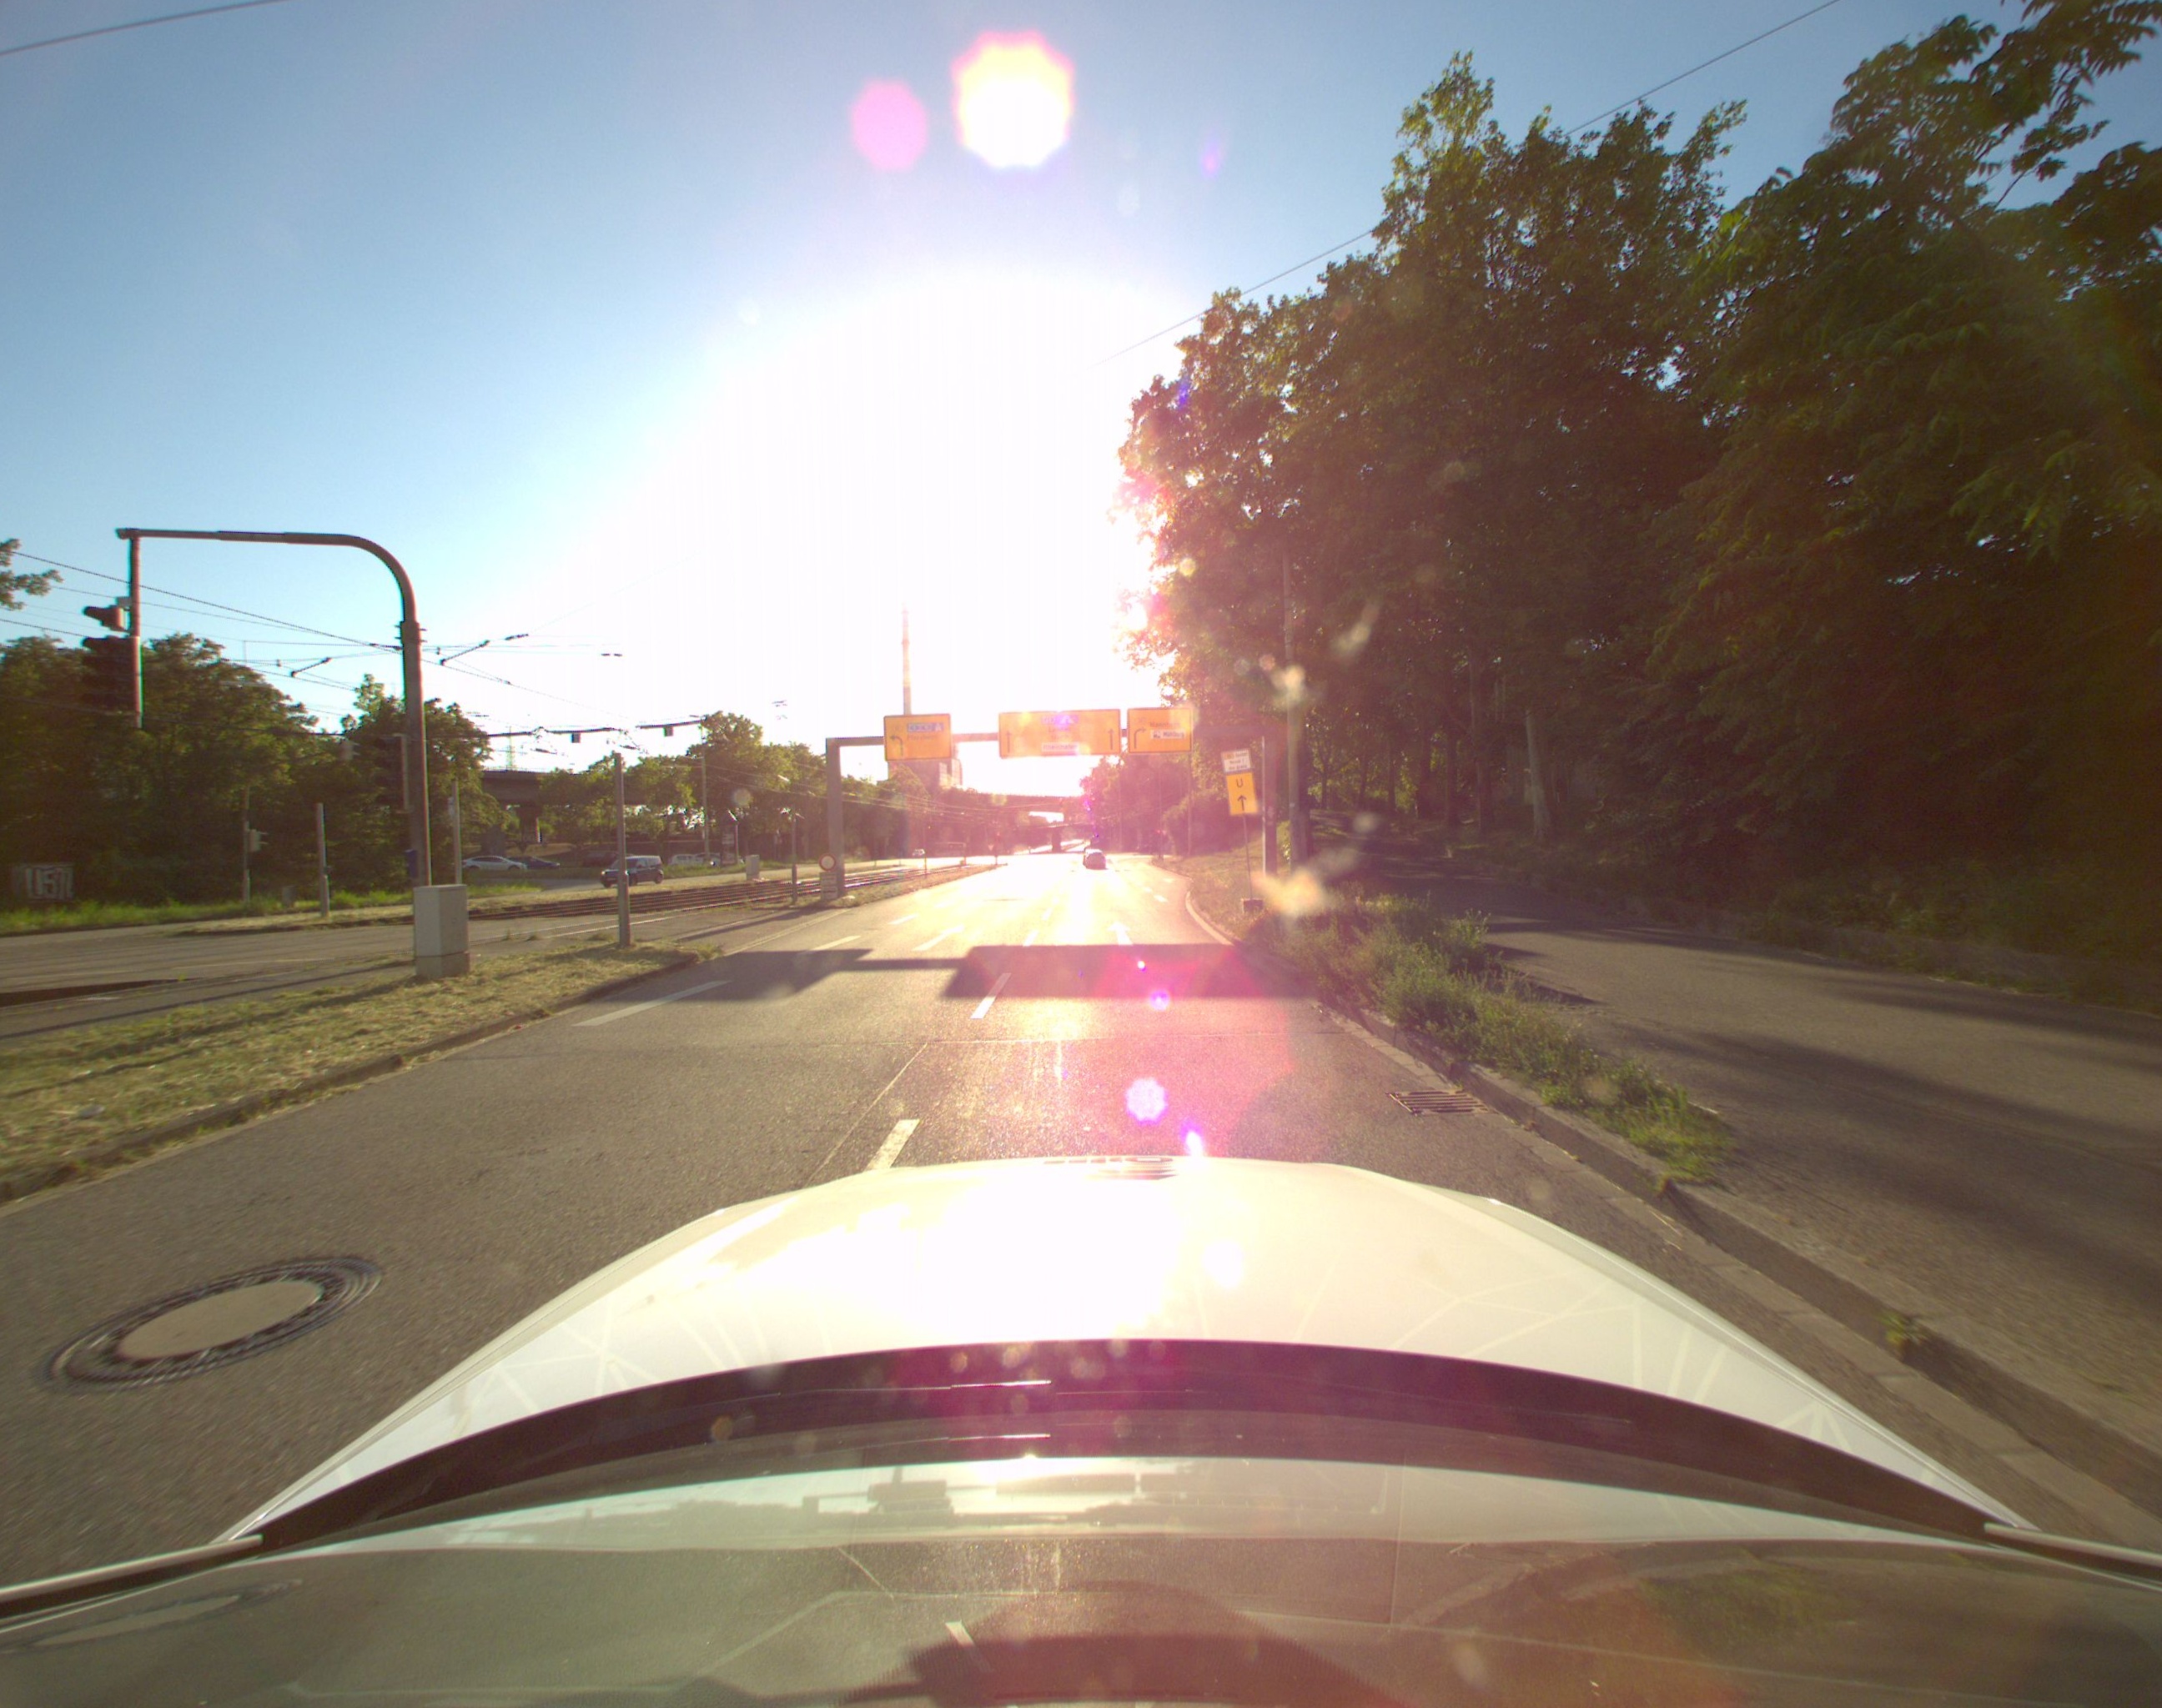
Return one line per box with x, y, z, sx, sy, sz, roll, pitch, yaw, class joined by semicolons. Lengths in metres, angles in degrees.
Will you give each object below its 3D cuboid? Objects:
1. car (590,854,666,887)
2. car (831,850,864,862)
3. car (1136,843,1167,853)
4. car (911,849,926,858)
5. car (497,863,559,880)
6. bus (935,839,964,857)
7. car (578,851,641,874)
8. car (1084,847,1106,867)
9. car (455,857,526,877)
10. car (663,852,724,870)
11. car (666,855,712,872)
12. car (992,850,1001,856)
-27.191;0.950;49.027;1.925;1.787;4.263;-2;1;3;car
-32.243;0.309;112.361;3.971;1.505;1.743;-2;1;2;car
11.282;-0.970;130.446;4.586;1.574;1.684;-1;1;-17;car
-26.311;-0.084;131.955;1.602;1.512;4.007;-1;1;-1;car
-51.549;1.619;75.994;4.638;1.458;1.678;-1;1;-29;car
-24.881;-1.041;154.609;2.532;3.130;12.929;-2;0;4;bus
-43.704;0.768;75.633;4.958;1.991;2.018;-1;1;-29;car
1.138;0.205;67.923;1.731;1.505;3.999;-2;1;0;car
-51.678;1.112;71.365;4.781;1.574;1.677;-2;1;-30;car
-39.010;0.682;82.129;5.372;1.574;1.728;-1;1;-23;car
-37.916;0.898;78.830;4.007;1.574;1.680;-1;1;-26;car
-19.984;-0.271;193.028;1.600;1.419;4.011;0;1;3;car
